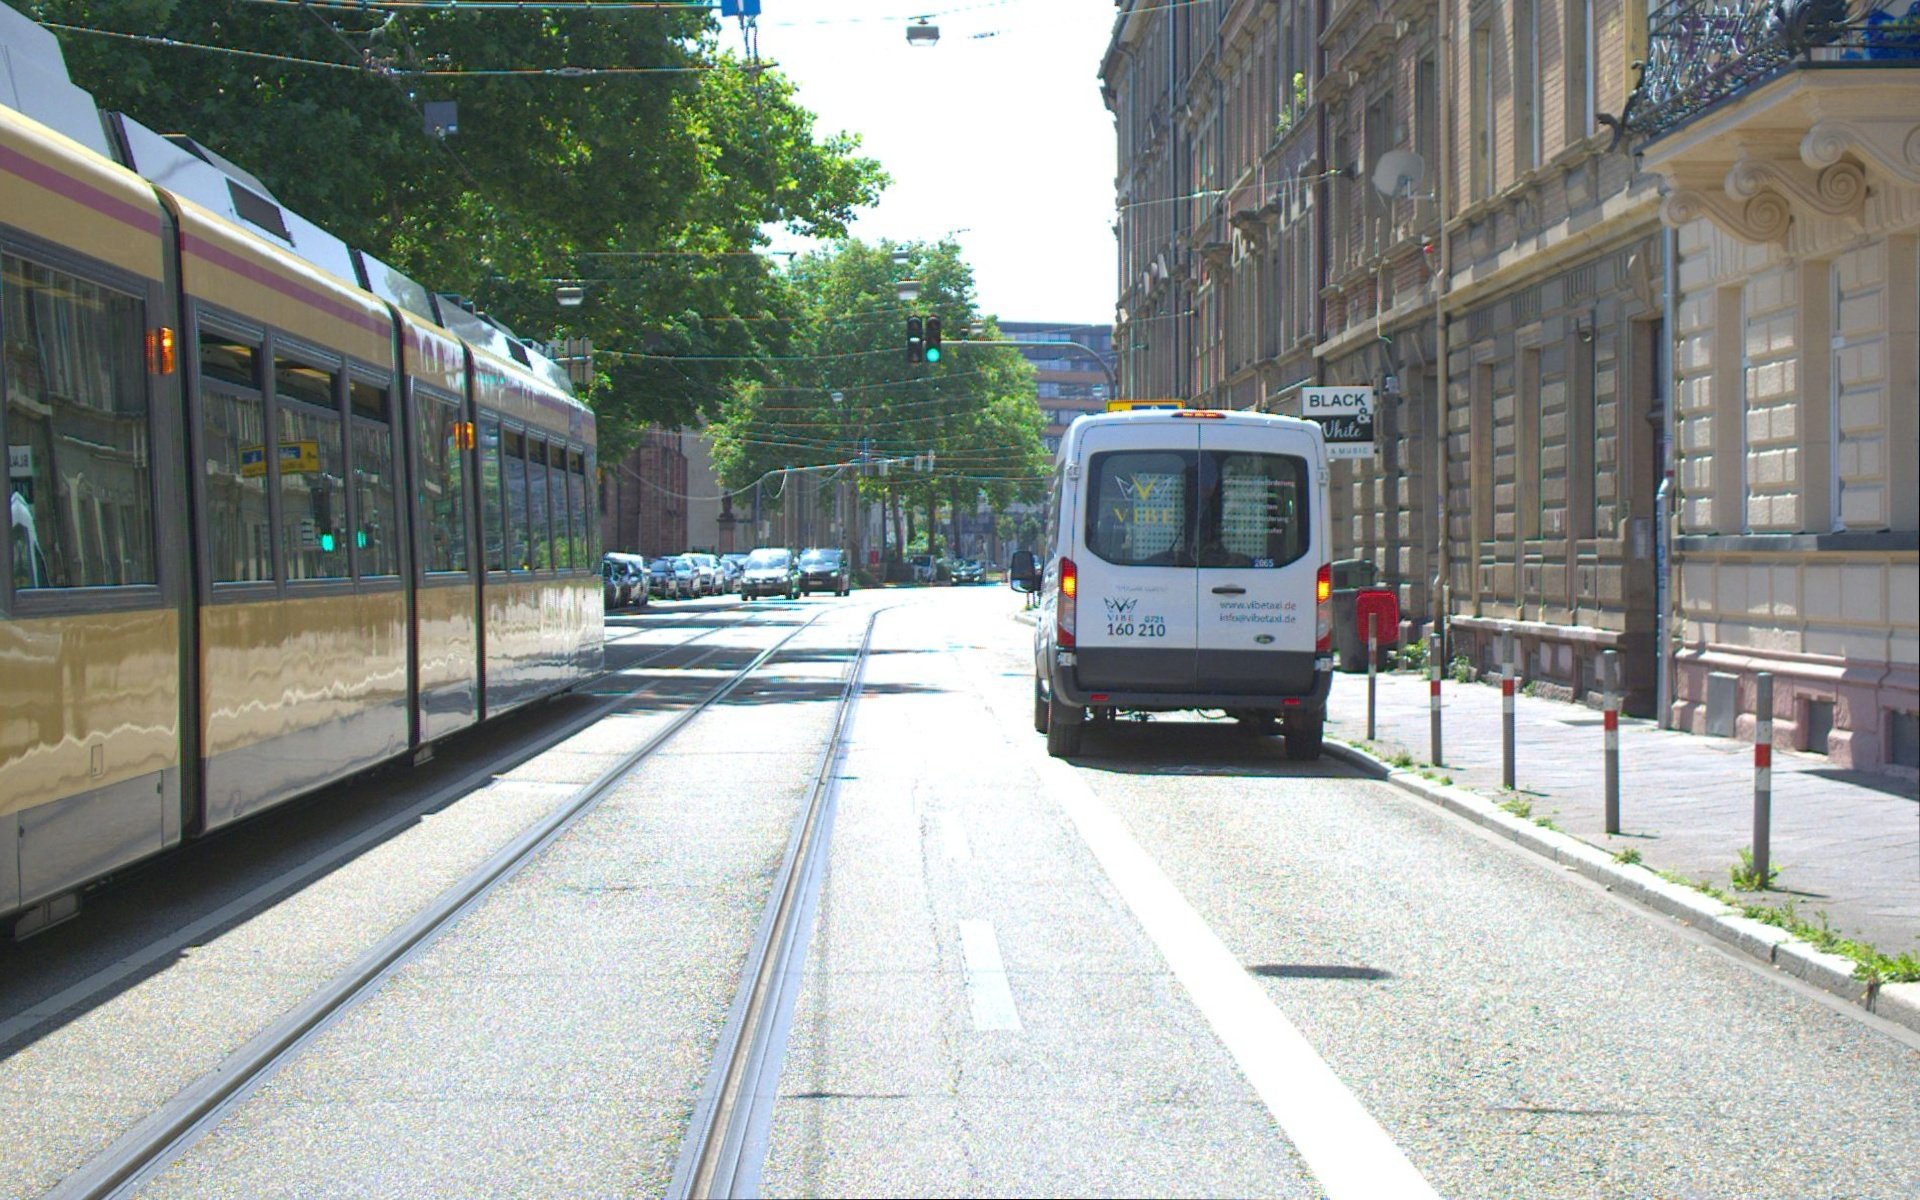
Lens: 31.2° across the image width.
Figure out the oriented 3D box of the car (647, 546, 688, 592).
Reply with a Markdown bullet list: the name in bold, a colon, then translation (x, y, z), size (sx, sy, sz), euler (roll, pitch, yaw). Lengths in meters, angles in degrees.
- **car**: translation (-11.198, -1.187, 131.840), size (1.454, 1.725, 3.194), euler (1, 1, -3)

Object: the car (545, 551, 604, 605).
- **car**: translation (-10.986, -0.632, 98.212), size (1.454, 1.491, 3.663), euler (1, 1, -3)

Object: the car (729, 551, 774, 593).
- **car**: translation (-7.292, -0.987, 120.273), size (1.528, 1.404, 3.490), euler (1, 1, -3)

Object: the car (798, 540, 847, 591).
- **car**: translation (-5.111, -1.294, 127.491), size (1.673, 1.853, 4.001), euler (1, 1, -4)

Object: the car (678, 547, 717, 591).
- **car**: translation (-10.455, -1.249, 136.972), size (1.454, 1.725, 3.194), euler (1, 1, -3)

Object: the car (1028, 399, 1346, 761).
- **car**: translation (1.642, -0.182, 26.743), size (2.067, 2.492, 5.454), euler (1, 1, 0)

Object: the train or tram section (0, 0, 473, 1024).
- **train or tram section**: translation (-4.646, -0.553, 16.810), size (2.960, 3.568, 13.424), euler (0, 1, -1)

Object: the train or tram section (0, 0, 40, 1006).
- **train or tram section**: translation (-4.343, -0.409, 4.598), size (2.960, 3.568, 13.424), euler (0, 1, -1)

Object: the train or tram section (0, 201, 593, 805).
- **train or tram section**: translation (-4.912, -0.674, 27.062), size (2.960, 3.568, 13.424), euler (0, 1, -1)

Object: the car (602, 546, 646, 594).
- **car**: translation (-12.360, -1.111, 126.444), size (1.454, 1.725, 3.194), euler (1, 1, -3)
